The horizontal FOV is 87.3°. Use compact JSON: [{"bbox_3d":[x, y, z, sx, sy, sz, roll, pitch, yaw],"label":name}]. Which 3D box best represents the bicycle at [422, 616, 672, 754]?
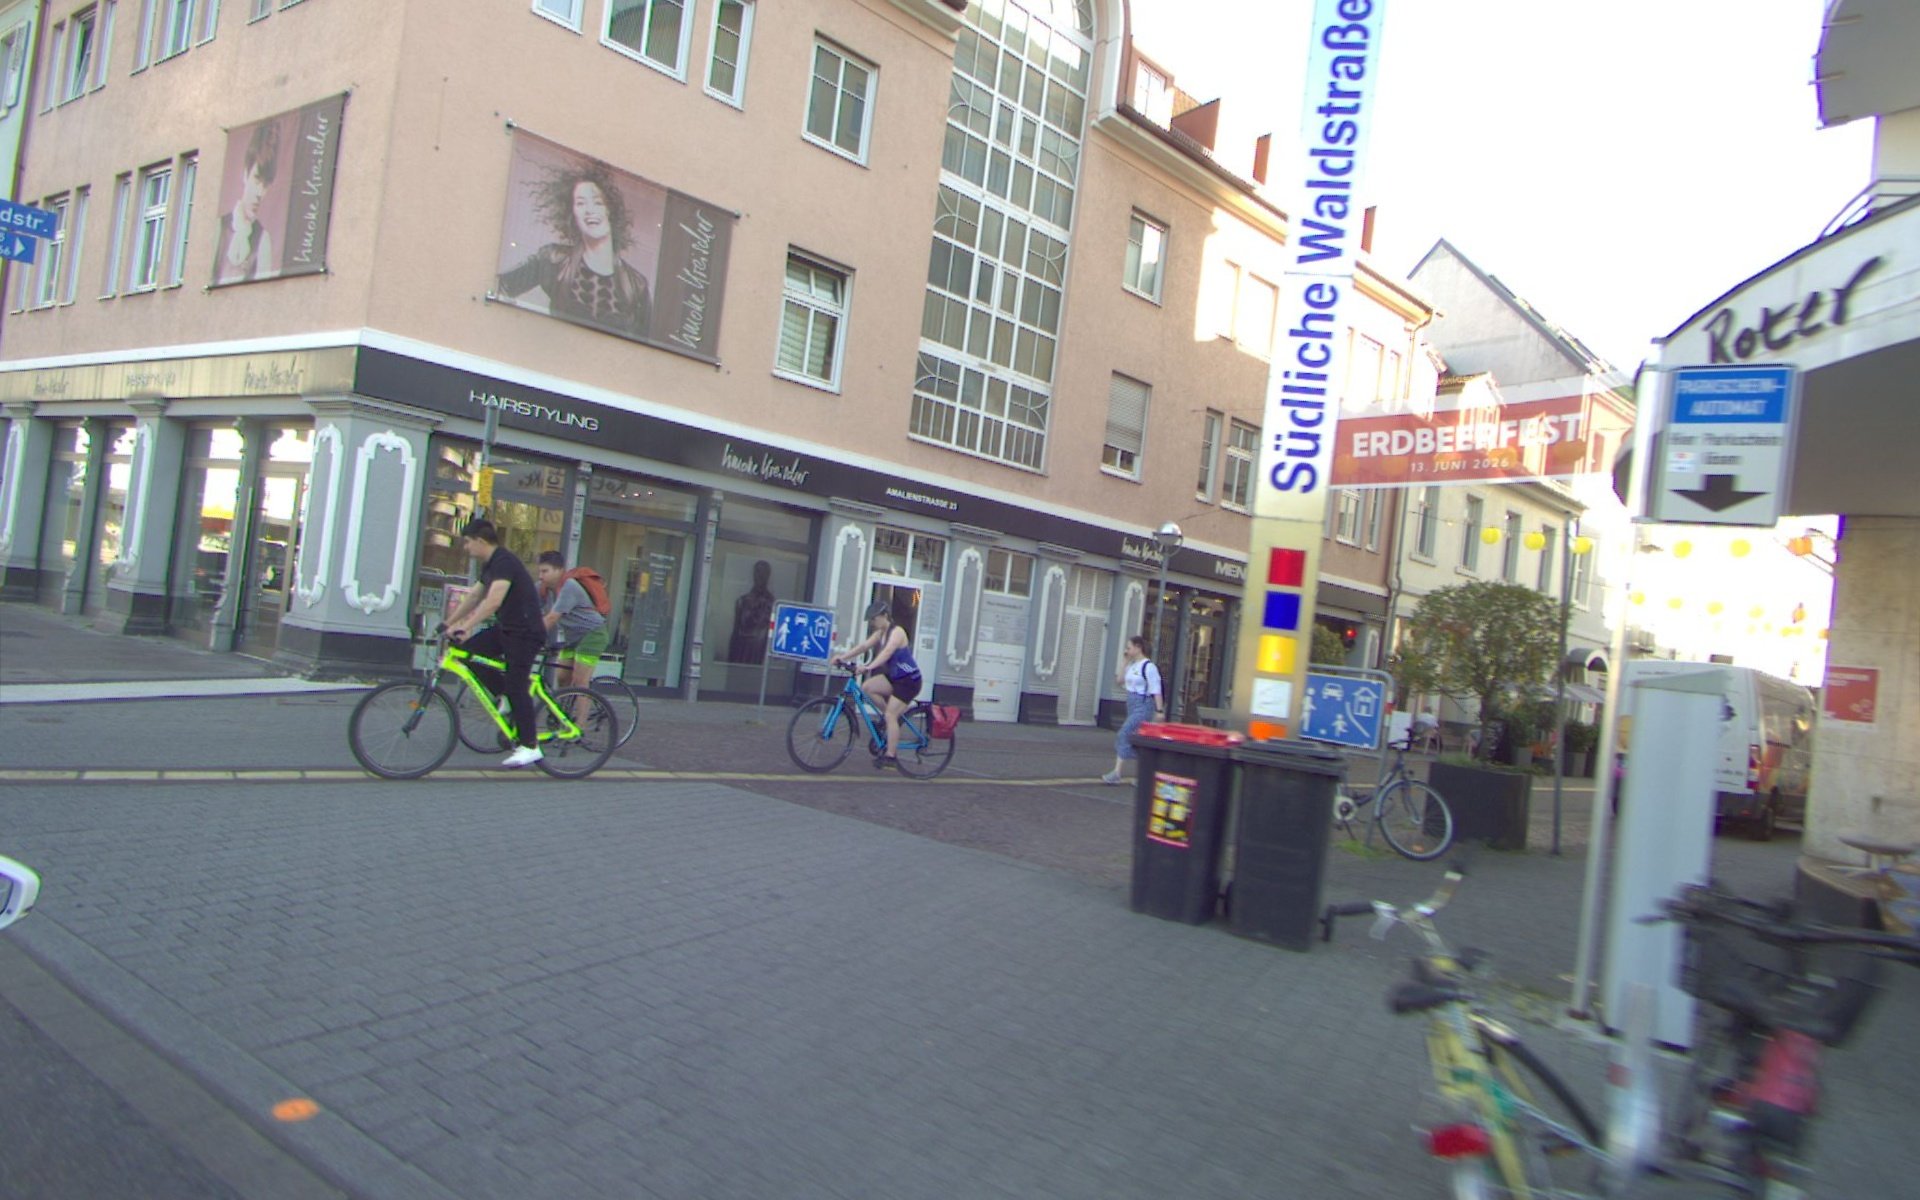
[{"bbox_3d":[-3.493,0.755,8.621,1.810,1.005,0.558,9,-2,-41],"label":"bicycle"}]

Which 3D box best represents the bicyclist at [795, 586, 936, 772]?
[{"bbox_3d":[-0.908,0.735,9.531,1.016,1.602,0.723,7,-1,-18],"label":"bicyclist"}]

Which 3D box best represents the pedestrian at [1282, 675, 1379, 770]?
[{"bbox_3d":[6.486,2.143,17.616,1.077,1.497,1.099,8,-3,-41],"label":"pedestrian"}]

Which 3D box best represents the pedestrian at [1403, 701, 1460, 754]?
[{"bbox_3d":[12.032,3.258,25.665,1.121,1.206,0.810,8,-1,-40],"label":"pedestrian"}]

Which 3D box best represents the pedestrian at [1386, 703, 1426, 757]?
[{"bbox_3d":[11.677,3.377,26.340,0.759,1.265,0.820,7,-1,19],"label":"pedestrian"}]

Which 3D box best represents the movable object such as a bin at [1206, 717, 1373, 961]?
[{"bbox_3d":[1.822,1.250,5.501,0.610,1.125,0.810,6,-3,30],"label":"movable object such as a bin"}]

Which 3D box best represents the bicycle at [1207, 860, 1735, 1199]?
[{"bbox_3d":[1.142,1.267,2.450,0.728,0.841,1.848,7,-2,26],"label":"bicycle"}]

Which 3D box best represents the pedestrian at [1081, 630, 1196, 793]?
[{"bbox_3d":[1.985,1.233,11.276,0.805,1.677,0.762,8,-1,-22],"label":"pedestrian"}]

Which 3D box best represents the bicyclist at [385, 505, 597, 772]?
[{"bbox_3d":[-3.332,0.288,7.145,1.121,1.704,0.720,8,-1,-31],"label":"bicyclist"}]

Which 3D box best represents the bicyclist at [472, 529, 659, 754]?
[{"bbox_3d":[-3.390,0.367,8.674,1.134,1.782,0.744,8,-2,-42],"label":"bicyclist"}]

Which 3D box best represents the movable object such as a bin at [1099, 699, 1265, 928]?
[{"bbox_3d":[1.298,1.179,5.803,0.610,1.125,0.810,6,-2,30],"label":"movable object such as a bin"}]

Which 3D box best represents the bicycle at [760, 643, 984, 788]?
[{"bbox_3d":[-0.838,1.089,9.518,1.892,1.109,0.731,8,-1,-18],"label":"bicycle"}]

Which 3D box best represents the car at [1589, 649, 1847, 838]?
[{"bbox_3d":[12.170,2.309,16.032,4.661,2.495,2.049,9,-4,-38],"label":"car"}]

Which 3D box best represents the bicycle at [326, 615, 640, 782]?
[{"bbox_3d":[-3.365,0.728,7.207,1.895,1.032,0.556,7,-1,-32],"label":"bicycle"}]

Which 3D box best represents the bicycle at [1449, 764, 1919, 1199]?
[{"bbox_3d":[1.643,1.102,2.165,0.916,1.226,1.946,7,-2,26],"label":"bicycle"}]

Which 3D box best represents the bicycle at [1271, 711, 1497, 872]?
[{"bbox_3d":[3.805,1.689,9.152,0.558,1.101,1.729,8,-2,-42],"label":"bicycle"}]
